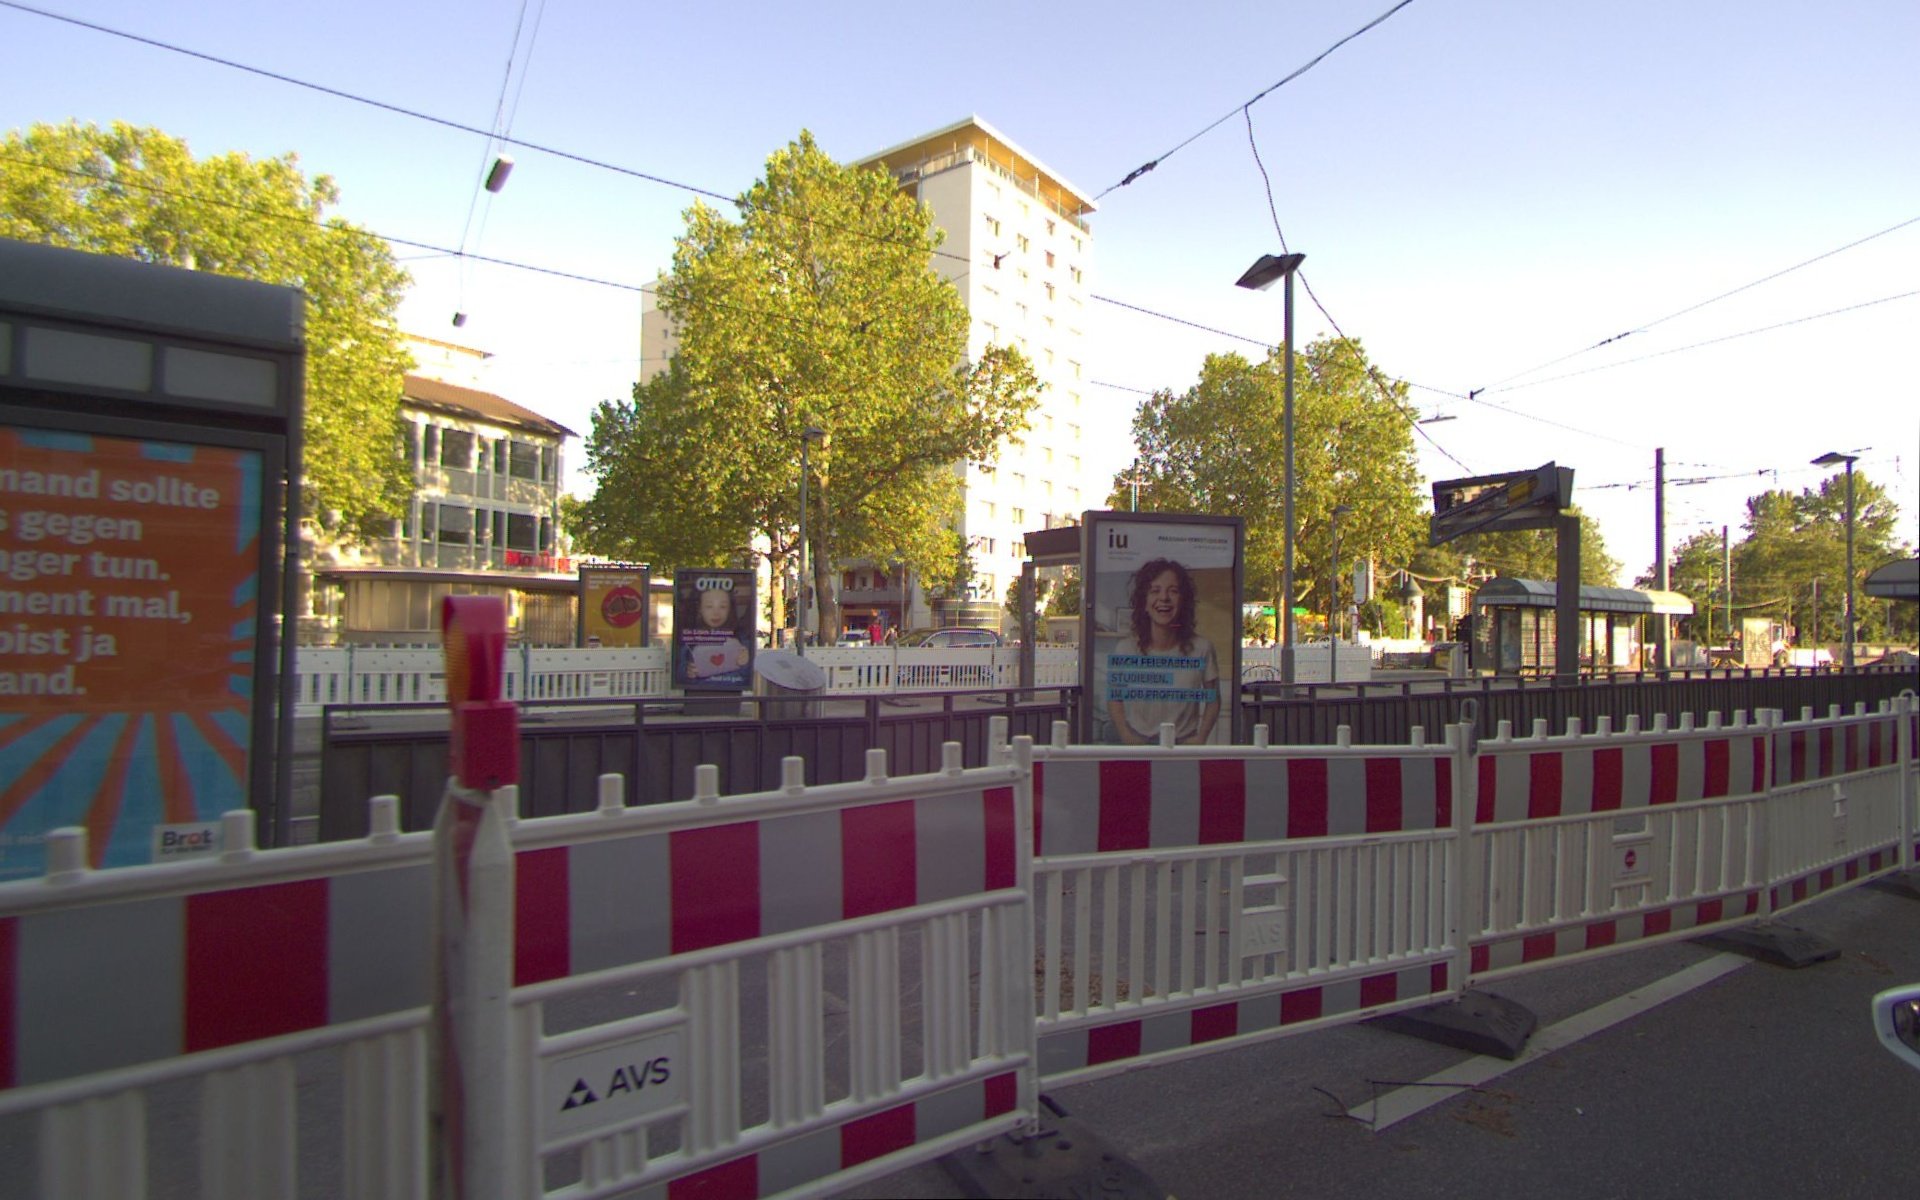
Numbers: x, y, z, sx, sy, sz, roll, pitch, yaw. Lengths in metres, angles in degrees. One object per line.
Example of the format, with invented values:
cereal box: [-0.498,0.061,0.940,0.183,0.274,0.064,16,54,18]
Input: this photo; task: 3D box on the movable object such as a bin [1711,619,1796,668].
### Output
movable object such as a bin: [44.459,2.426,56.257,4.544,2.674,2.142,2,-2,-29]

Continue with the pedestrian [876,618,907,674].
pedestrian: [-2.560,1.704,37.561,0.873,2.040,0.881,1,-2,-28]

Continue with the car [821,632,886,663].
car: [-7.298,3.250,69.546,1.964,2.040,4.905,0,-2,30]

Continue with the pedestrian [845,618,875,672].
pedestrian: [-3.854,1.709,38.578,0.873,2.040,0.881,1,-2,-28]

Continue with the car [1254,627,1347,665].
car: [14.702,1.969,43.372,3.928,1.586,1.795,2,-2,-33]

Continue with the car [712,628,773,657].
car: [-16.118,3.131,74.582,1.964,2.040,4.436,0,-2,30]
